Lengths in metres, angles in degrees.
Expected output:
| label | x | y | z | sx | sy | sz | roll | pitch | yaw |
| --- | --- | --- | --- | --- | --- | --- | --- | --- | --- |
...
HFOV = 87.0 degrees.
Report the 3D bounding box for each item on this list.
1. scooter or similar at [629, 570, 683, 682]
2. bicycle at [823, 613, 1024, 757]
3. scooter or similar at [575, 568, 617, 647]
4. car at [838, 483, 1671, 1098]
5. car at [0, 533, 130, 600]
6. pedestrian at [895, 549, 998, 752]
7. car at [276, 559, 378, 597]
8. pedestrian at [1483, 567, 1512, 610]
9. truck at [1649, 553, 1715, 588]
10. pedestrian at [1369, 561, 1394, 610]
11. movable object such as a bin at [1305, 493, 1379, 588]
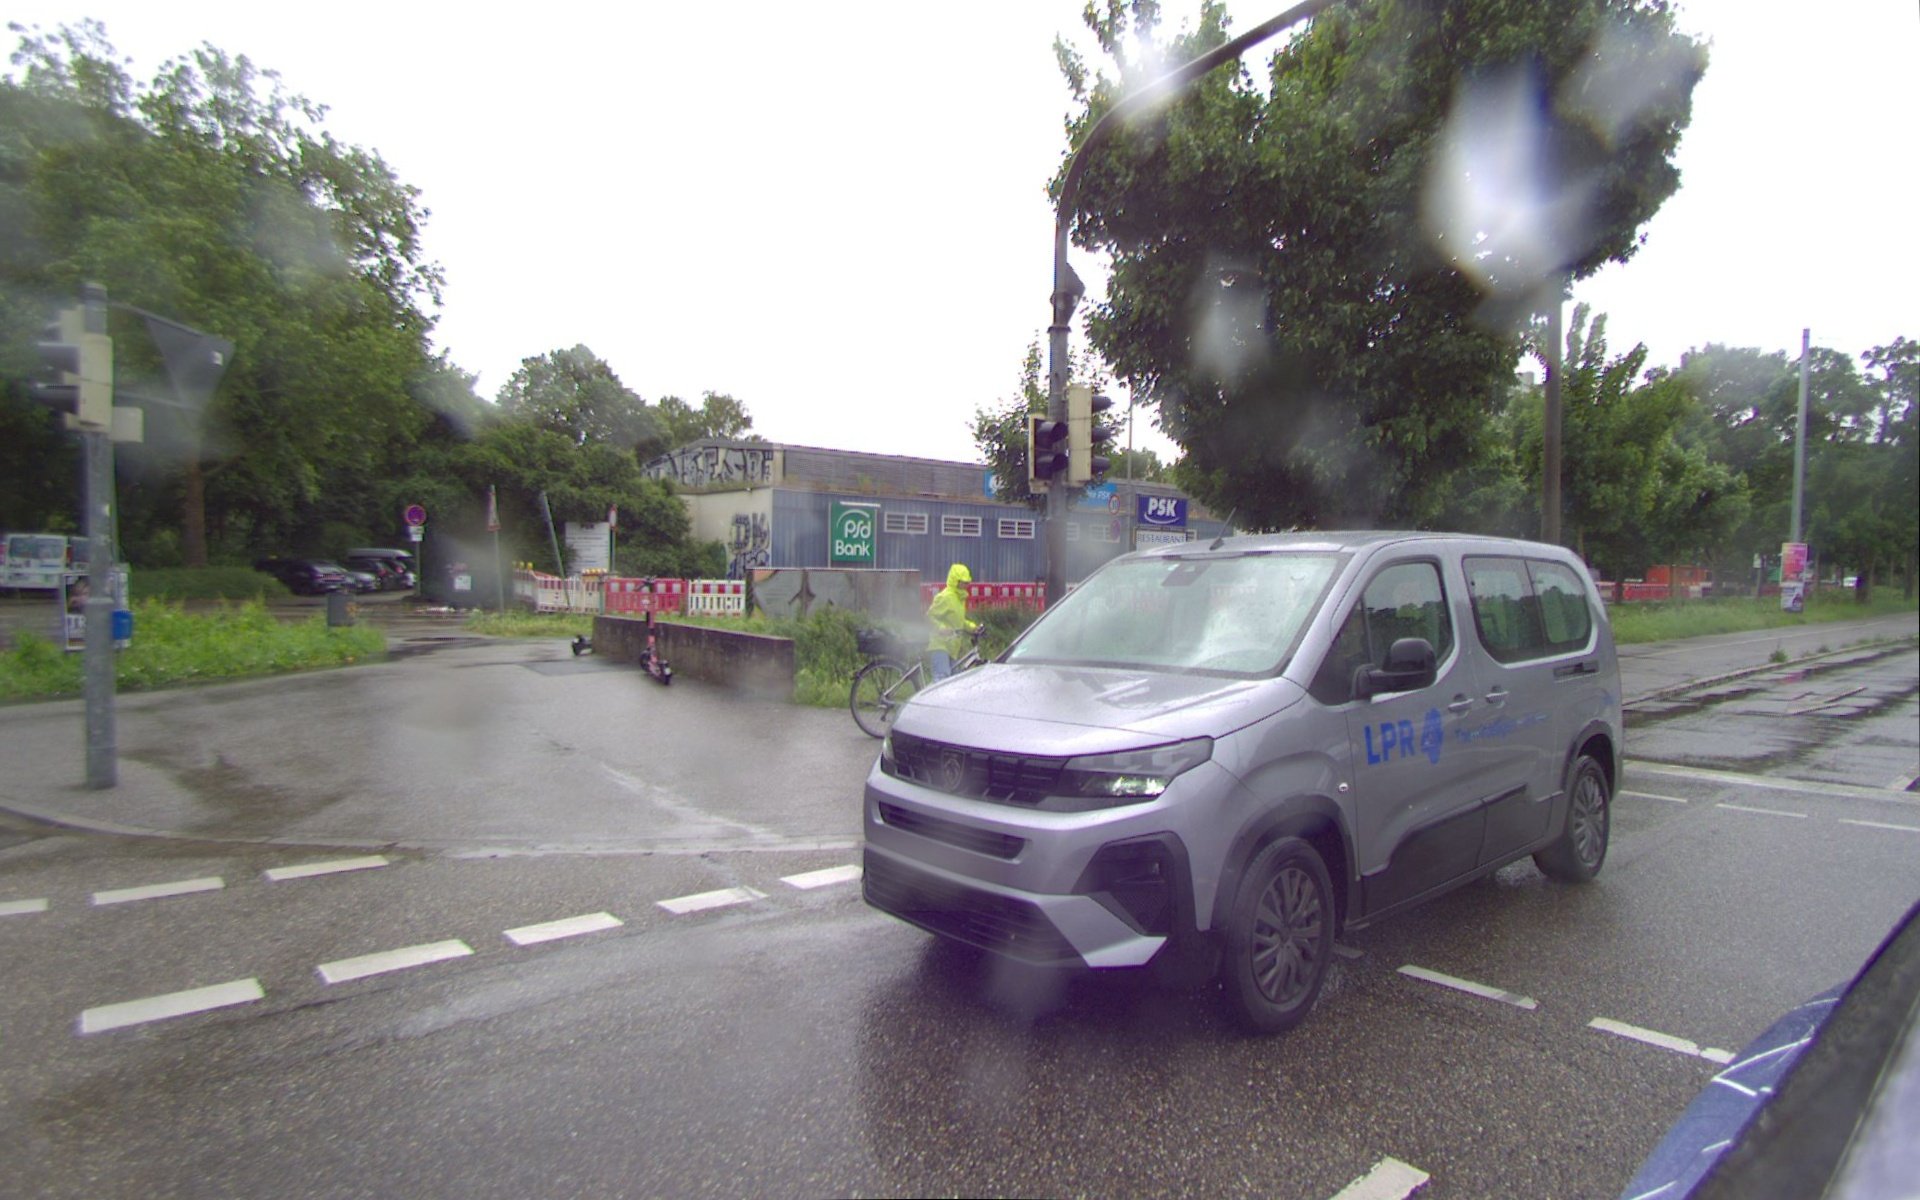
| label | x | y | z | sx | sy | sz | roll | pitch | yaw |
| --- | --- | --- | --- | --- | --- | --- | --- | --- | --- |
| scooter or similar | -3.660 | 0.289 | 12.137 | 0.316 | 1.244 | 0.961 | 0 | 4 | -35 |
| bicycle | -0.324 | 0.733 | 9.251 | 1.642 | 1.050 | 0.785 | 4 | 5 | 17 |
| scooter or similar | -5.564 | 0.103 | 15.484 | 0.549 | 1.191 | 0.286 | 0 | 2 | -33 |
| car | 1.801 | 0.511 | 5.210 | 4.482 | 1.818 | 1.997 | -1 | 1 | -40 |
| car | -28.846 | -1.044 | 32.582 | 1.885 | 1.989 | 4.204 | -1 | 1 | -19 |
| pedestrian | -0.109 | 0.417 | 9.172 | 0.660 | 1.698 | 0.786 | 4 | 4 | 17 |
| car | -29.313 | -1.034 | 47.030 | 3.921 | 1.672 | 1.704 | -1 | 1 | -30 |
| pedestrian | 25.072 | -0.536 | 47.182 | 1.191 | 1.960 | 0.814 | -1 | 0 | -41 |
| truck | 64.104 | -2.594 | 89.782 | 8.598 | 2.935 | 2.809 | -2 | 1 | -41 |
| pedestrian | 16.747 | -0.579 | 40.214 | 0.861 | 1.920 | 0.580 | -1 | 0 | -40 |
| movable object such as a bin | 18.652 | -2.849 | 49.369 | 3.838 | 4.481 | 1.557 | -1 | 1 | -39 |
